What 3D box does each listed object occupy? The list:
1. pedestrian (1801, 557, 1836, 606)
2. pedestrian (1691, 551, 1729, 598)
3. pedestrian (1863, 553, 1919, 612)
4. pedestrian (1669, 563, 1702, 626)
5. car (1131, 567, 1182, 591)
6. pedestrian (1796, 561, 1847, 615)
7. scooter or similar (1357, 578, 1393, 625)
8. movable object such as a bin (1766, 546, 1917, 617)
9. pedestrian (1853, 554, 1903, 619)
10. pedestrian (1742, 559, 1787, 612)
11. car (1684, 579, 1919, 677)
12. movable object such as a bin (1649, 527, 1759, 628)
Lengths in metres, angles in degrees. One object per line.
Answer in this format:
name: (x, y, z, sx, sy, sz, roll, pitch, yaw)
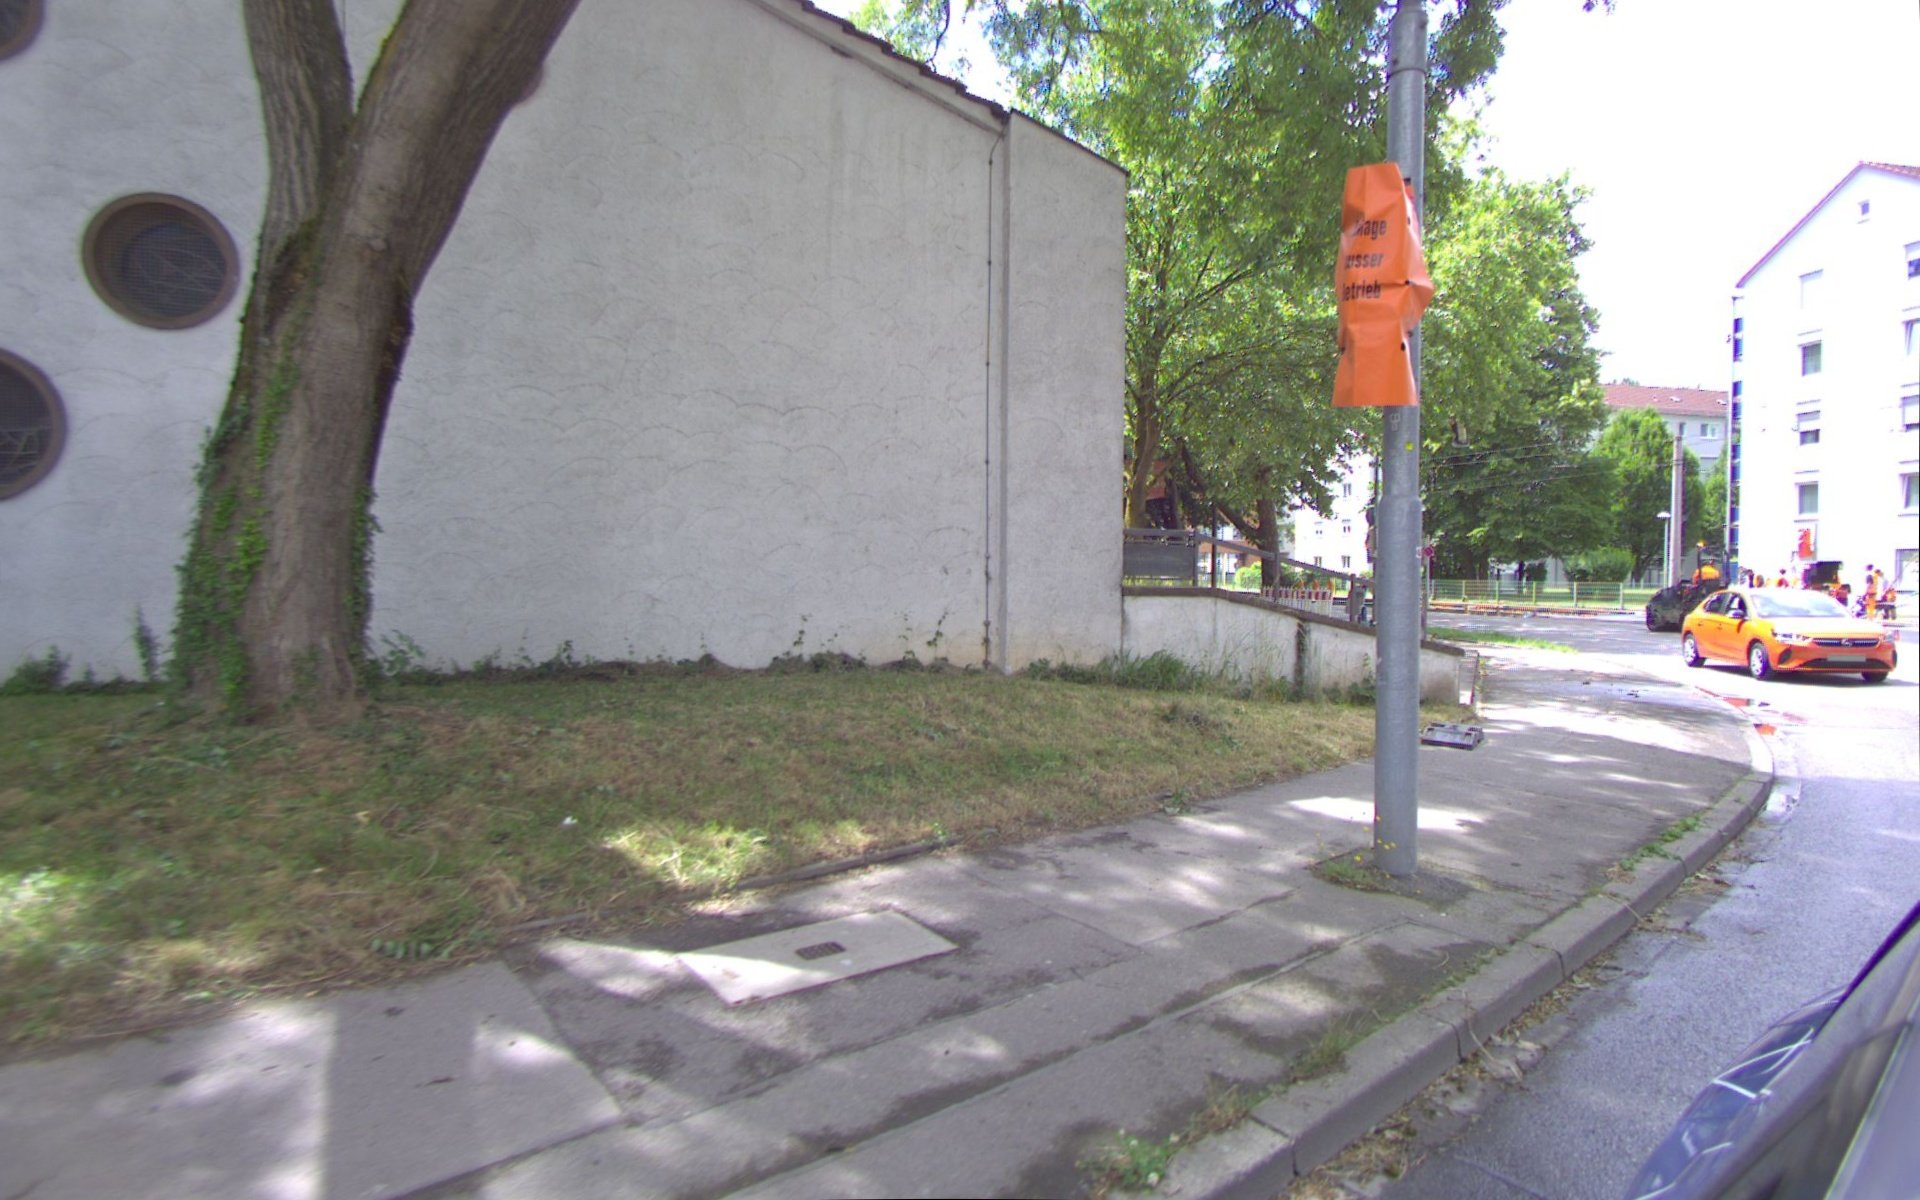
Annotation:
pedestrian: (30.616, -0.669, 36.102, 0.875, 1.704, 0.659, 0, 1, 34)
pedestrian: (20.030, -0.675, 27.035, 0.540, 1.232, 0.617, 0, 1, 1)
pedestrian: (29.349, -0.551, 31.835, 1.073, 1.847, 0.876, 1, 1, -10)
pedestrian: (20.060, -0.152, 27.995, 0.461, 1.702, 0.559, -2, 1, -6)
car: (11.376, -1.216, 58.807, 1.503, 1.335, 3.388, 0, 1, -17)
pedestrian: (27.842, -0.392, 32.719, 0.843, 1.738, 0.918, 0, 0, 1)
scooter or similar: (11.449, 0.023, 27.956, 0.556, 1.247, 1.194, 1, 1, 4)
movable object such as a bin: (26.812, -0.576, 30.916, 1.962, 2.039, 2.969, 1, 1, 0)
pedestrian: (27.041, -0.399, 29.823, 0.767, 1.862, 0.770, 1, 1, -12)
pedestrian: (26.931, -0.494, 33.890, 0.738, 1.738, 0.919, 0, 0, -4)
car: (13.940, 0.389, 16.959, 1.746, 1.451, 3.818, -1, 1, 17)
movable object such as a bin: (20.370, -0.611, 27.790, 1.296, 2.626, 2.362, 0, 1, 1)
